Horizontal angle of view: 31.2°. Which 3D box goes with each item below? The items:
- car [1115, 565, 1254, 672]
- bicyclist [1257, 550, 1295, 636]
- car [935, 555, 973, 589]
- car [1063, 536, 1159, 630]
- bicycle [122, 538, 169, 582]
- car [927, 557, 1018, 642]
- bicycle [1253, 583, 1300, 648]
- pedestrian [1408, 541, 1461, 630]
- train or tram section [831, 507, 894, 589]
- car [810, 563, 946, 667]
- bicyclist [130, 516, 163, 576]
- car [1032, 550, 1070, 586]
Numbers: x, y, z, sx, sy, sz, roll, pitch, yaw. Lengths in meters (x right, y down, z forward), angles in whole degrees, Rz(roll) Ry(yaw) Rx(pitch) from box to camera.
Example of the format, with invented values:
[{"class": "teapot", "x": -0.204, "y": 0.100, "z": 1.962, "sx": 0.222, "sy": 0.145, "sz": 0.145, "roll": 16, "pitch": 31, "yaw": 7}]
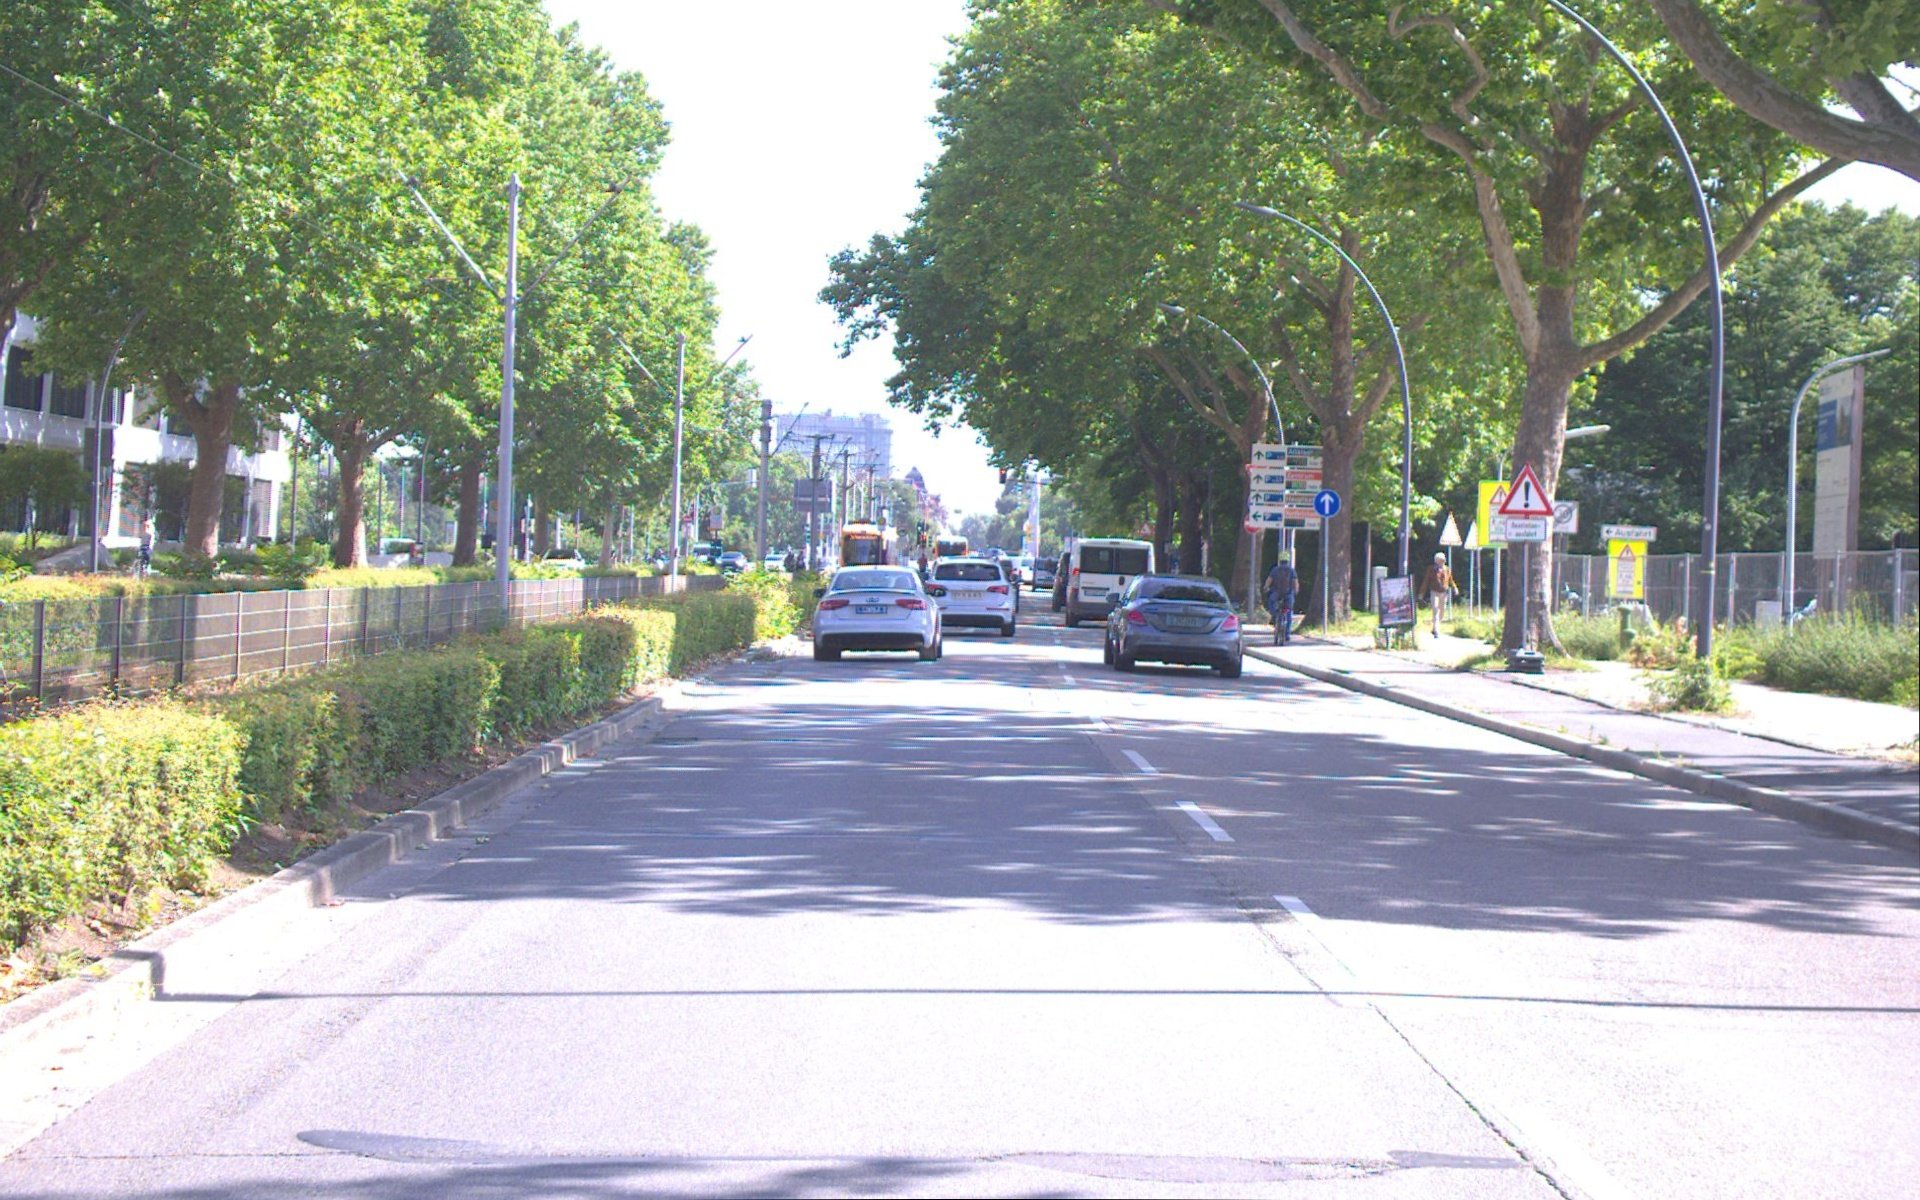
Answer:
[{"class": "car", "x": 3.223, "y": 0.236, "z": 50.050, "sx": 1.782, "sy": 1.415, "sz": 4.000, "roll": 3, "pitch": 1, "yaw": 1}, {"class": "bicyclist", "x": 6.165, "y": -0.145, "z": 67.081, "sx": 0.634, "sy": 1.642, "sz": 0.979, "roll": 0, "pitch": 2, "yaw": 0}, {"class": "car", "x": -0.292, "y": -1.433, "z": 172.875, "sx": 1.729, "sy": 1.625, "sz": 4.000, "roll": 3, "pitch": 1, "yaw": 1}, {"class": "car", "x": 3.775, "y": -0.440, "z": 86.624, "sx": 2.230, "sy": 2.204, "sz": 4.162, "roll": 3, "pitch": 1, "yaw": 1}, {"class": "bicycle", "x": -21.296, "y": -1.045, "z": 89.935, "sx": 0.664, "sy": 1.120, "sz": 2.031, "roll": 3, "pitch": 1, "yaw": 1}, {"class": "car", "x": 0.280, "y": -0.033, "z": 70.247, "sx": 1.729, "sy": 1.599, "sz": 3.885, "roll": 3, "pitch": 1, "yaw": 1}, {"class": "bicycle", "x": 6.164, "y": 0.289, "z": 67.104, "sx": 0.714, "sy": 1.144, "sz": 2.178, "roll": 0, "pitch": 3, "yaw": 0}, {"class": "pedestrian", "x": 10.351, "y": -0.326, "z": 74.957, "sx": 0.939, "sy": 1.886, "sz": 1.151, "roll": 2, "pitch": 1, "yaw": 1}, {"class": "train or tram section", "x": -4.919, "y": -2.618, "z": 174.695, "sx": 2.617, "sy": 4.001, "sz": 7.748, "roll": 3, "pitch": 1, "yaw": 1}, {"class": "car", "x": -1.181, "y": 0.191, "z": 51.025, "sx": 1.785, "sy": 1.416, "sz": 3.885, "roll": 3, "pitch": 1, "yaw": 1}, {"class": "bicyclist", "x": -21.290, "y": -1.405, "z": 89.960, "sx": 0.654, "sy": 1.529, "sz": 0.641, "roll": 3, "pitch": 1, "yaw": 2}, {"class": "car", "x": 5.320, "y": -1.880, "z": 201.327, "sx": 2.072, "sy": 1.992, "sz": 4.058, "roll": 3, "pitch": 1, "yaw": 1}]
